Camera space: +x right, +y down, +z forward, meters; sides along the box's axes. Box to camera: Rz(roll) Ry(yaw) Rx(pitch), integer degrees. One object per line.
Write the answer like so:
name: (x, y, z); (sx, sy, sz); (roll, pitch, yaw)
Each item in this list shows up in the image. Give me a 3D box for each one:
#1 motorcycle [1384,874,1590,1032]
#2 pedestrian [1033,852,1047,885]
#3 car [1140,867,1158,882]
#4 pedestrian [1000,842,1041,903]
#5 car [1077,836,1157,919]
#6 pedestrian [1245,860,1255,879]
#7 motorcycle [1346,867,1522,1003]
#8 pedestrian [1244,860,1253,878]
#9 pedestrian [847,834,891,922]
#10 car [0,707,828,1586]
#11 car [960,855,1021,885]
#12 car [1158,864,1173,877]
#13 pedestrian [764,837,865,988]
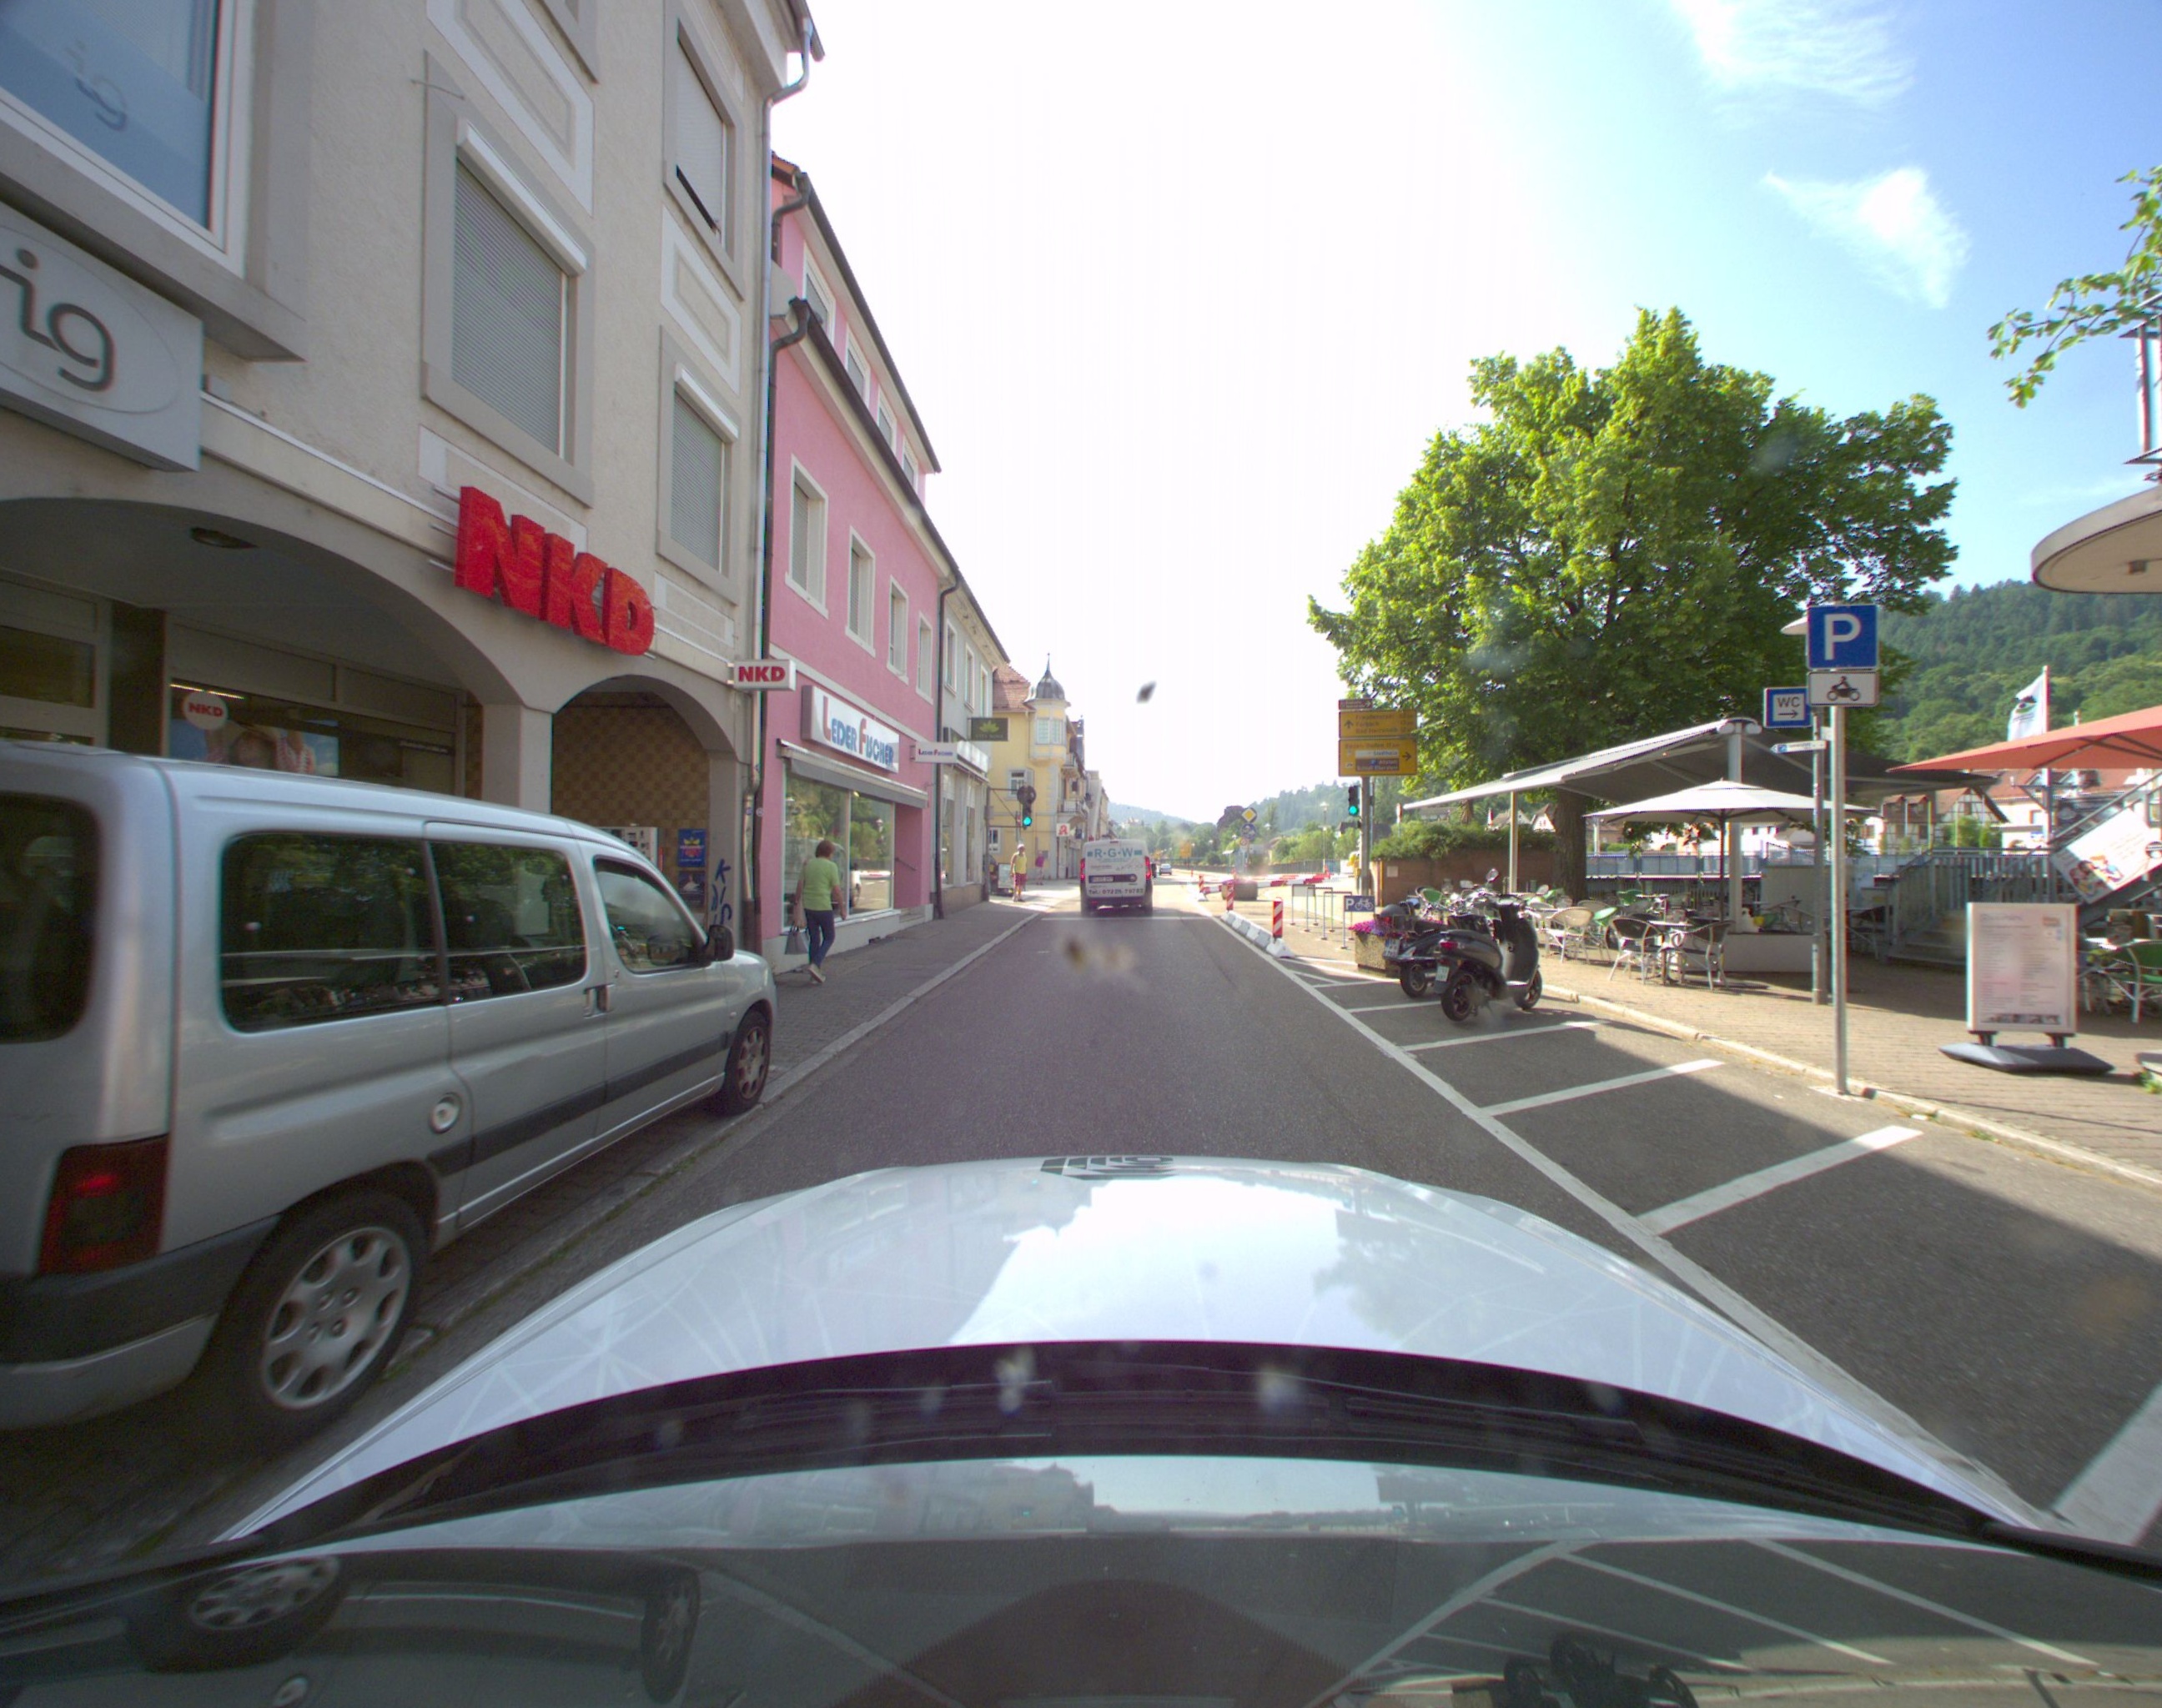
motorcycle: (3.930, 0.853, 7.819); (2.100, 1.270, 0.919); (0, 0, -37)
pedestrian: (-2.176, 0.775, 43.023); (0.675, 1.714, 0.618); (1, 0, 2)
car: (7.866, 2.322, 94.121); (1.985, 1.662, 4.004); (1, -1, 4)
pedestrian: (-1.908, 0.575, 25.606); (0.907, 1.815, 1.014); (5, -1, -19)
car: (0.978, 0.546, 21.220); (1.836, 1.906, 4.318); (-1, 0, 3)
pedestrian: (16.071, 1.474, 77.534); (0.862, 1.706, 0.778); (0, -1, 5)
motorcycle: (3.998, 0.844, 9.200); (1.907, 1.358, 0.908); (0, 0, -32)
pedestrian: (16.071, 1.426, 78.195); (0.785, 1.706, 0.492); (0, -1, 5)
pedestrian: (-4.276, 0.472, 16.410); (0.717, 1.722, 0.668); (0, -1, -30)
car: (-2.729, 0.554, 3.704); (1.700, 1.739, 4.147); (2, 0, 2)
car: (-5.085, 0.869, 45.386); (1.929, 1.543, 3.921); (1, 1, -30)
car: (11.539, 2.250, 111.259); (1.985, 1.662, 4.004); (1, -1, 4)
pedestrian: (-3.029, 0.635, 9.322); (0.782, 1.632, 0.860); (1, 0, 5)
